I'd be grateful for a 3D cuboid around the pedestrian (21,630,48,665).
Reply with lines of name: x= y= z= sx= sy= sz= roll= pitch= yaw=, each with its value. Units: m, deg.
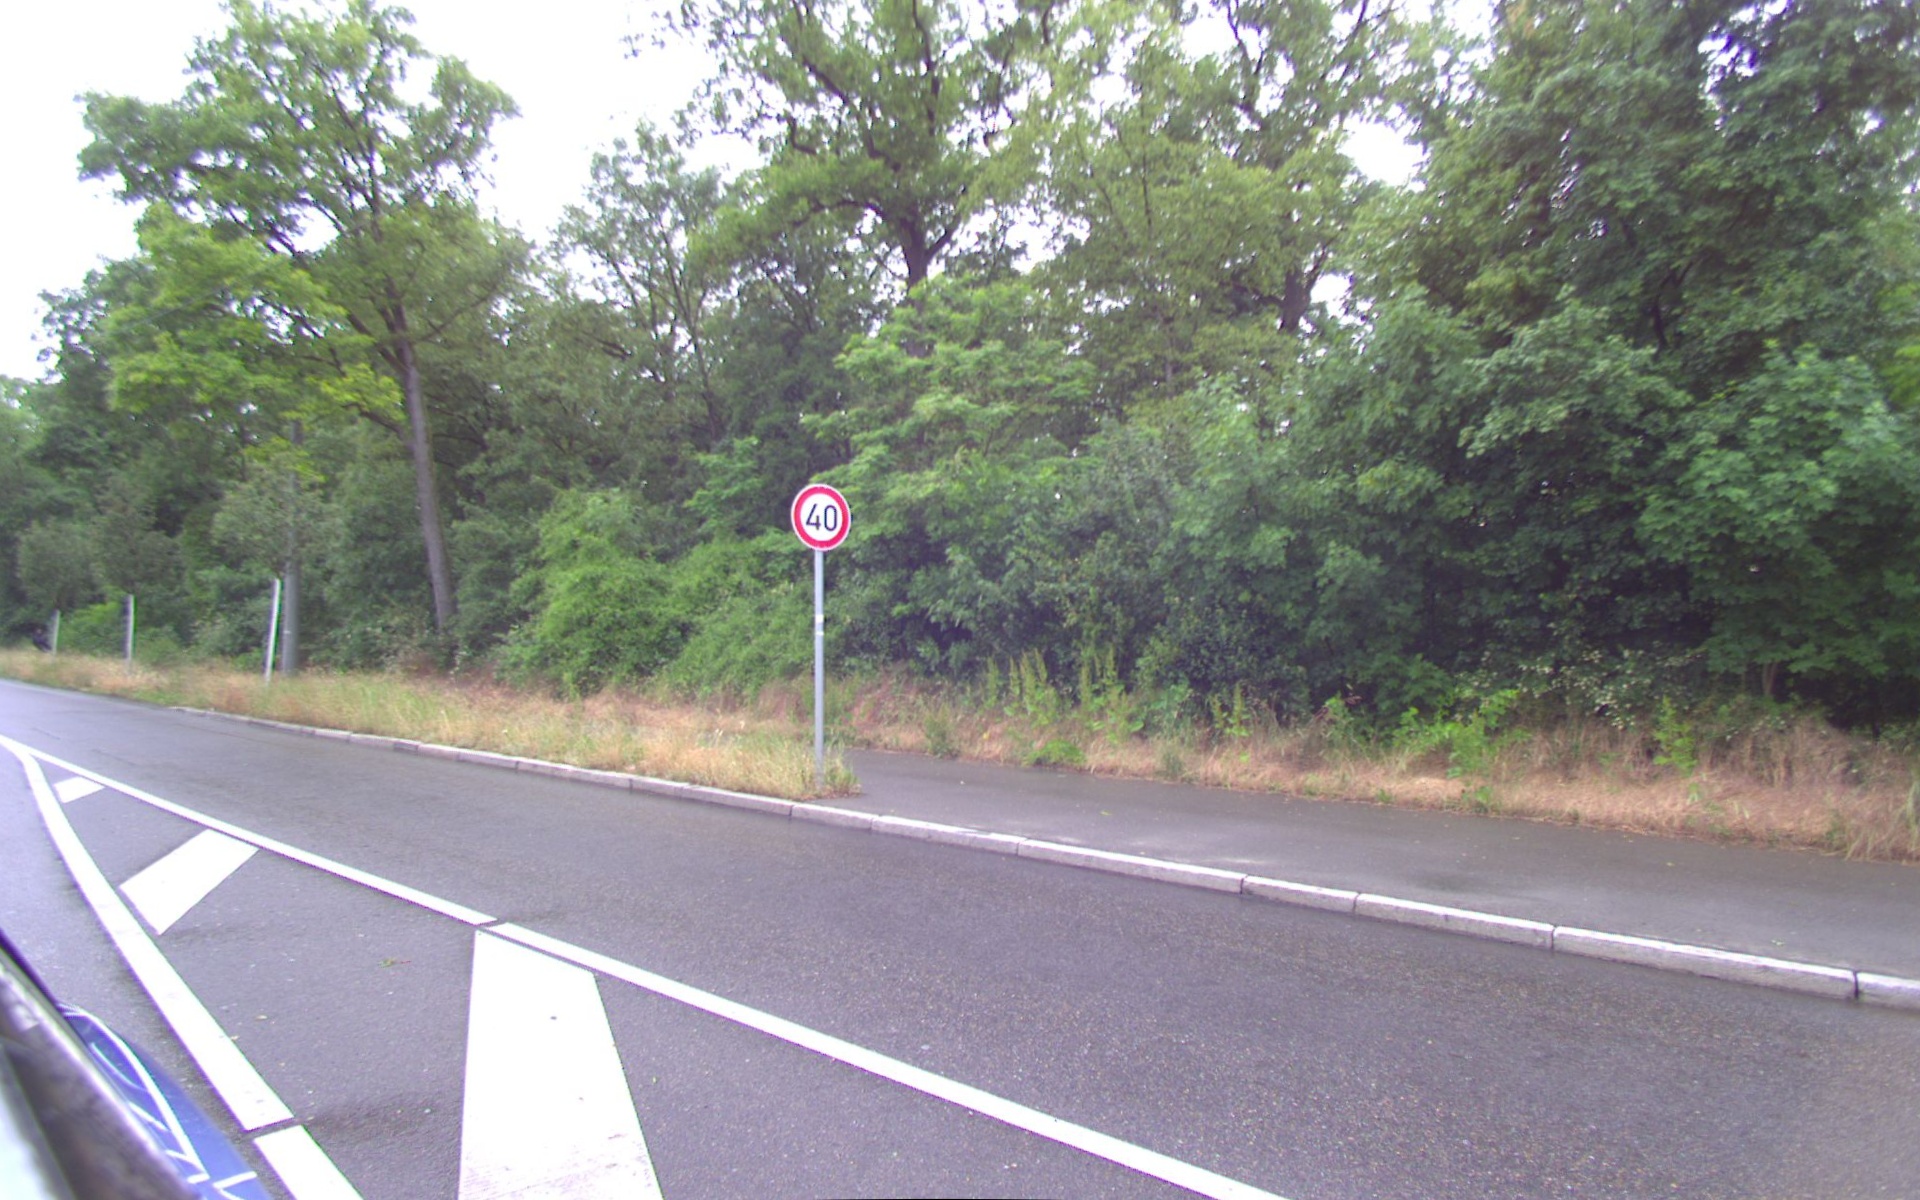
pedestrian: x=-43.692 y=2.247 z=47.786 sx=0.731 sy=1.620 sz=0.773 roll=-2 pitch=-3 yaw=38
